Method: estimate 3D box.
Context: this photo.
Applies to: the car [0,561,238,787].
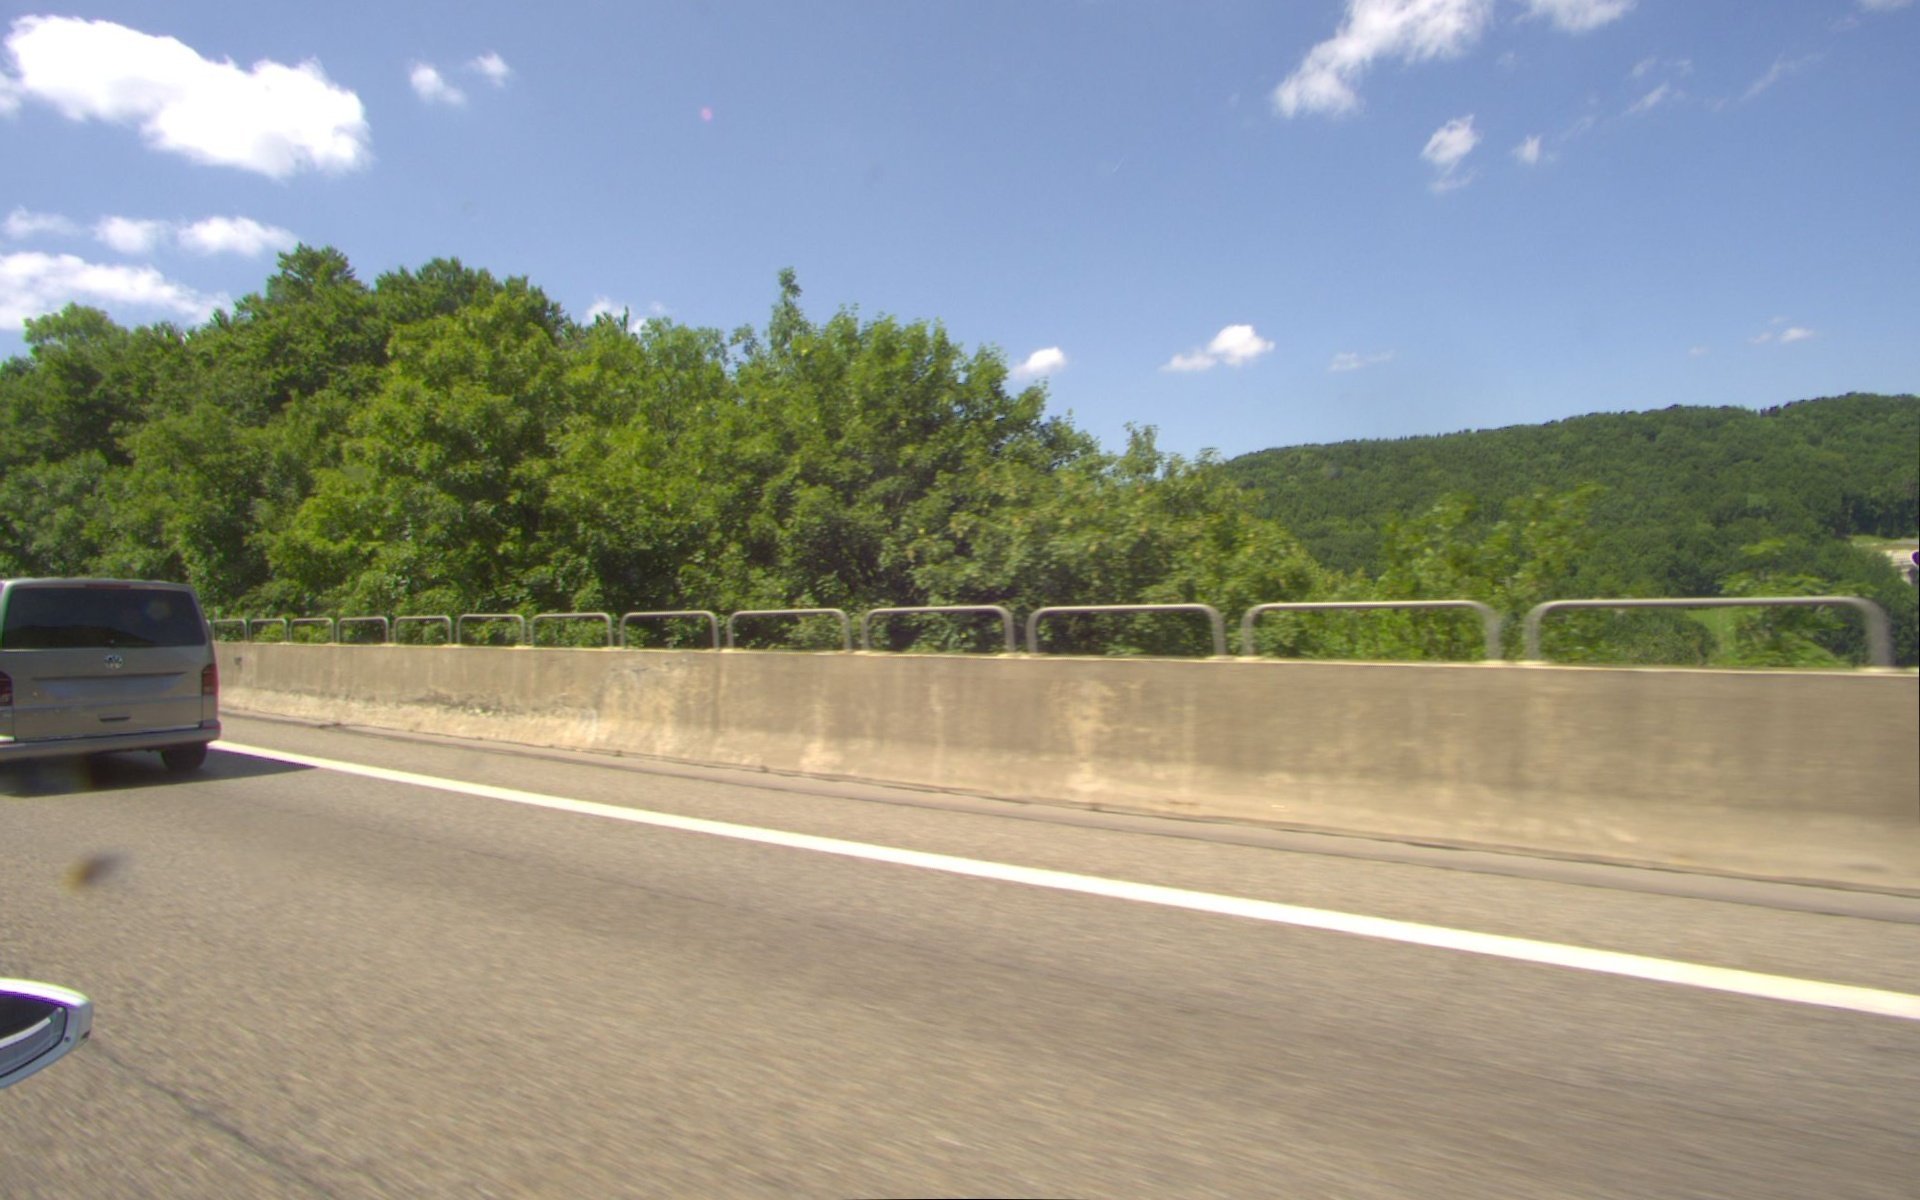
[{"bbox_3d":[-9.754,0.680,10.693,4.632,1.956,1.935,-1,0,35],"label":"car"}]
